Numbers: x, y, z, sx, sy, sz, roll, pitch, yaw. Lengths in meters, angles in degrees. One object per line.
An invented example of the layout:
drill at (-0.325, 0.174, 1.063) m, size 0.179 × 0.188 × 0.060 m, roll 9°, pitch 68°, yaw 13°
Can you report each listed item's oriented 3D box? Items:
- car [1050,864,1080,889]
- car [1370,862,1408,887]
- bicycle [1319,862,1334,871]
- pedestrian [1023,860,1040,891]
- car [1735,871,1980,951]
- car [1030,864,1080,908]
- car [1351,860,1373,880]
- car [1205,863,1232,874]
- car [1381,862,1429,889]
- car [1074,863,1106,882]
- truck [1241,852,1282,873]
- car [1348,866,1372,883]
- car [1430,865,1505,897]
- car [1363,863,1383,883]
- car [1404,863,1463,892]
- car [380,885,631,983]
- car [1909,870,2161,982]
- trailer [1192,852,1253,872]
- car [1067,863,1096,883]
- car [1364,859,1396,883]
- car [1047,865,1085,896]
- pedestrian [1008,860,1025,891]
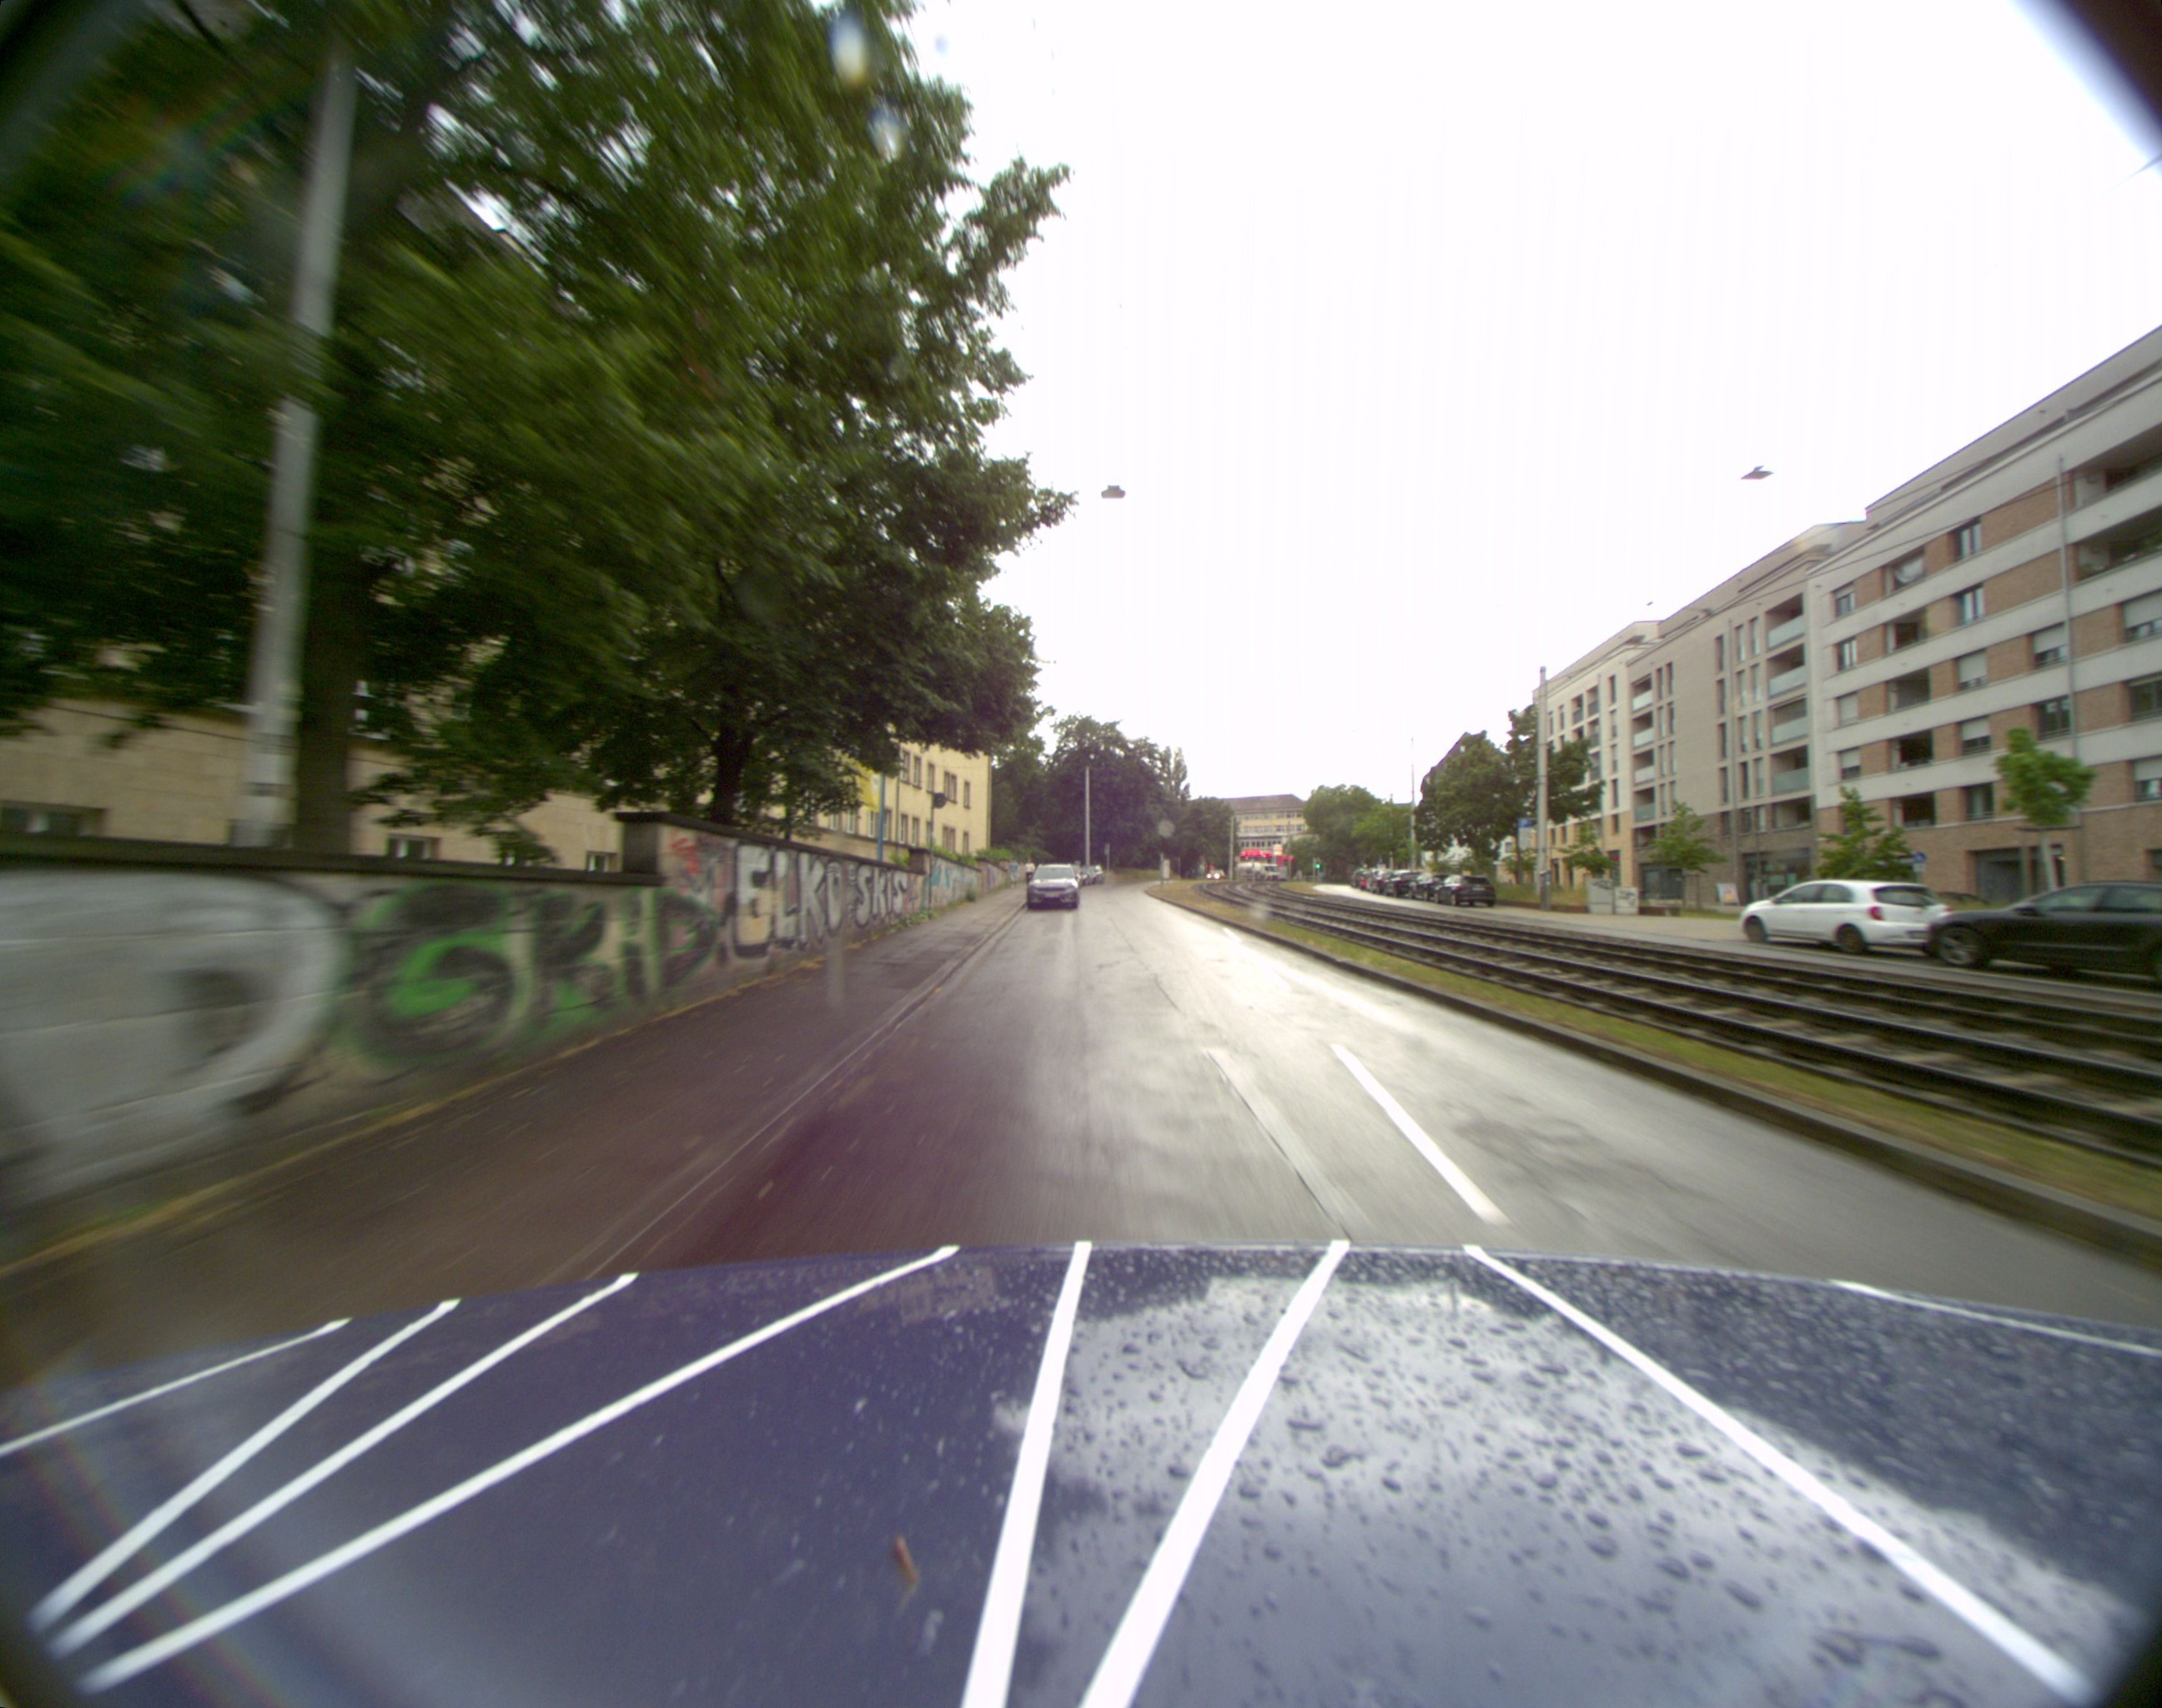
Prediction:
car at (-0.969, 1.318, 45.659) m, size 1.670 × 1.467 × 4.066 m, roll 0°, pitch -1°, yaw -1°
car at (21.128, 1.408, 52.260) m, size 1.734 × 1.634 × 4.537 m, roll 0°, pitch -1°, yaw 13°
bicycle at (30.864, 1.609, 95.493) m, size 1.709 × 1.133 × 0.626 m, roll 1°, pitch -1°, yaw 12°
pedestrian at (-2.826, 1.224, 43.192) m, size 0.719 × 1.744 × 0.740 m, roll 2°, pitch 0°, yaw 11°
car at (16.609, 1.137, 16.561) m, size 1.769 × 1.470 × 3.737 m, roll 1°, pitch -1°, yaw 7°
car at (-0.893, 1.134, 28.083) m, size 1.670 × 1.515 × 4.109 m, roll 0°, pitch -1°, yaw 0°
car at (26.586, 1.532, 71.941) m, size 1.583 × 1.848 × 4.339 m, roll -1°, pitch -1°, yaw 16°
car at (18.247, 1.915, 100.648) m, size 1.885 × 1.482 × 3.858 m, roll 1°, pitch -1°, yaw 37°
car at (19.945, 1.289, 46.982) m, size 1.806 × 1.574 × 4.703 m, roll 0°, pitch -1°, yaw 11°
car at (0.718, 1.475, 60.132) m, size 1.599 × 1.457 × 2.726 m, roll 2°, pitch -1°, yaw 23°
truck at (30.046, 1.448, 126.707) m, size 6.109 × 3.379 × 2.843 m, roll 1°, pitch -1°, yaw 24°
car at (28.103, 2.062, 76.569) m, size 1.996 × 1.595 × 4.221 m, roll -2°, pitch -2°, yaw 17°
car at (18.222, 1.254, 36.062) m, size 1.969 × 1.422 × 4.203 m, roll 0°, pitch -1°, yaw 8°
car at (23.943, 1.551, 62.417) m, size 1.471 × 1.522 × 2.936 m, roll 1°, pitch -1°, yaw 20°
car at (19.440, 1.264, 42.118) m, size 1.740 × 1.480 × 4.260 m, roll 0°, pitch -1°, yaw 7°
car at (-11.810, 1.577, 15.705) m, size 4.131 × 1.782 × 1.797 m, roll 0°, pitch 0°, yaw 10°
car at (16.215, 1.067, 11.869) m, size 1.770 × 1.552 × 4.406 m, roll 1°, pitch -1°, yaw 0°
trailer at (24.164, 1.314, 129.833) m, size 9.808 × 3.375 × 2.820 m, roll 0°, pitch -1°, yaw 32°
car at (0.073, 1.396, 56.195) m, size 1.539 × 1.408 × 3.647 m, roll 2°, pitch -1°, yaw 8°
car at (22.778, 1.300, 58.007) m, size 1.665 × 1.737 × 4.262 m, roll 0°, pitch -1°, yaw 14°
car at (-0.751, 1.366, 40.546) m, size 1.669 × 1.467 × 4.459 m, roll 2°, pitch -1°, yaw 3°
pedestrian at (-3.691, 1.205, 43.389) m, size 0.719 × 1.744 × 0.740 m, roll 2°, pitch 0°, yaw 11°
